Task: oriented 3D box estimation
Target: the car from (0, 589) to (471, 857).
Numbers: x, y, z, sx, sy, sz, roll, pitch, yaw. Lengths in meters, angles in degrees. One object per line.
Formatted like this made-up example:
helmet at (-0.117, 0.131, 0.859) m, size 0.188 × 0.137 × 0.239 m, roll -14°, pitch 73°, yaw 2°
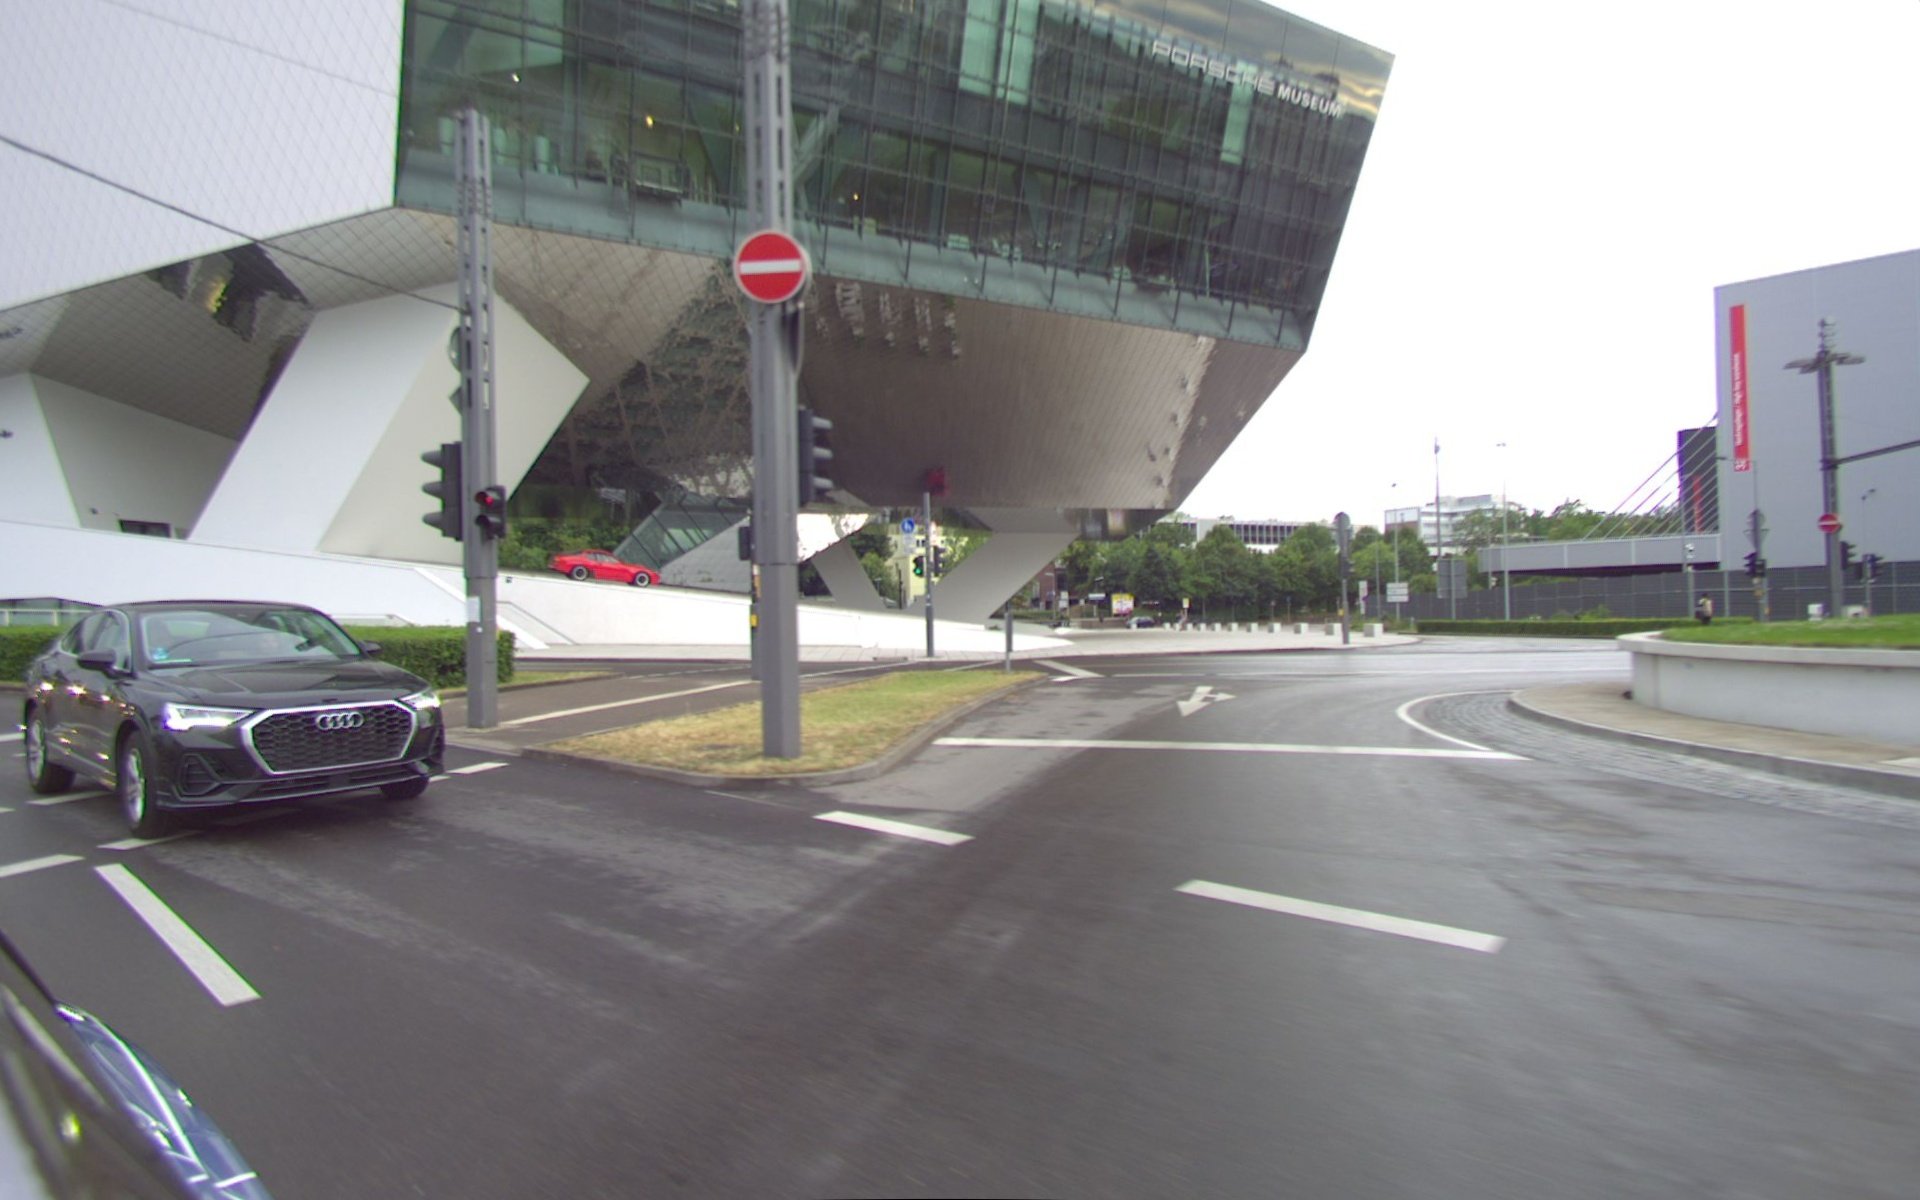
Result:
car at (-5.743, 0.759, 7.799) m, size 4.386 × 1.530 × 1.736 m, roll -2°, pitch -1°, yaw 37°

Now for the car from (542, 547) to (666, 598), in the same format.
car at (-14.037, -1.048, 39.986) m, size 4.174 × 1.395 × 2.006 m, roll 8°, pitch -5°, yaw -31°

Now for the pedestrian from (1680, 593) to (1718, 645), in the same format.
pedestrian at (26.360, 0.690, 36.107) m, size 0.842 × 1.816 × 0.648 m, roll -1°, pitch -1°, yaw 1°
